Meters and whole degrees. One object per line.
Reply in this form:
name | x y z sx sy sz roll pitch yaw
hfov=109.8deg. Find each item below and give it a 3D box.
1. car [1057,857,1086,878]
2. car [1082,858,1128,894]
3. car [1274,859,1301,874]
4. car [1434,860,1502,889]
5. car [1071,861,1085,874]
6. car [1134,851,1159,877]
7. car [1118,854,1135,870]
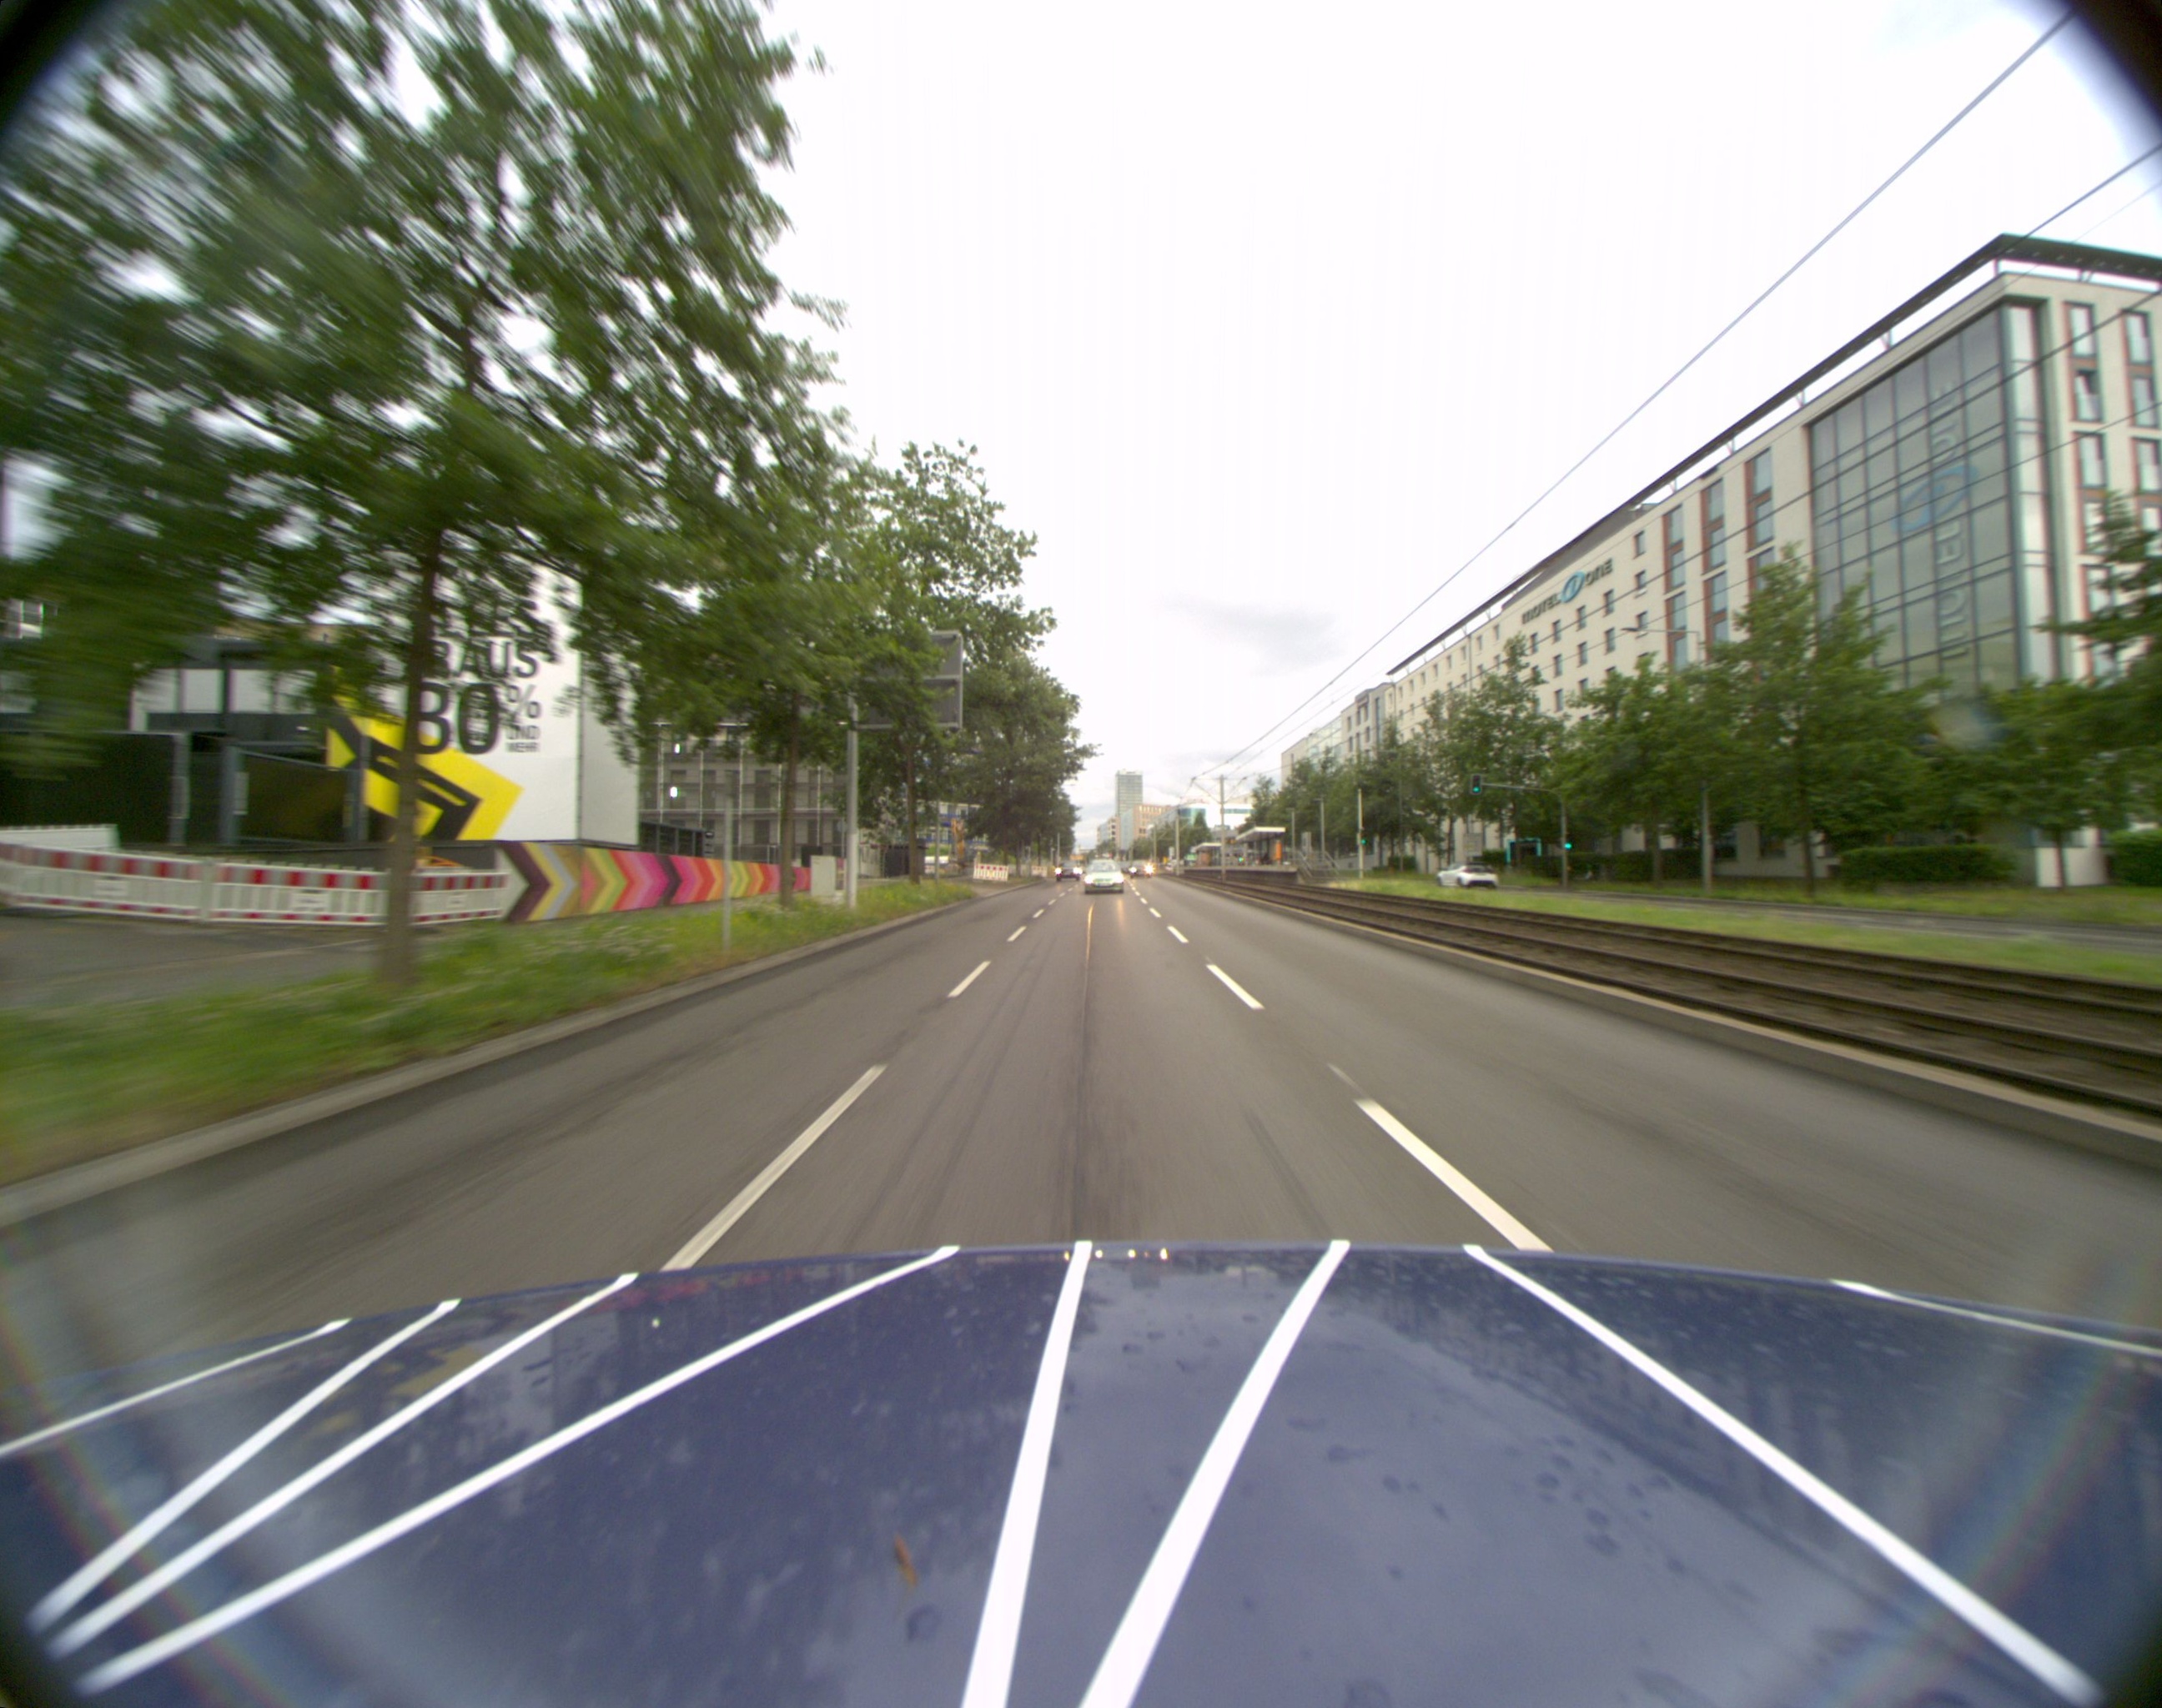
car | -0.751 1.093 61.046 1.828 1.599 4.117 -2 -2 6
car | 1.145 0.980 34.638 1.828 1.499 4.116 -2 -1 5
car | 19.650 1.167 72.490 1.701 1.356 3.562 2 0 3
car | 20.064 1.005 39.557 1.701 1.356 3.818 2 0 3
car | -0.441 2.011 112.786 1.860 1.798 4.116 -2 -2 2
car | 5.467 0.823 63.723 1.998 2.002 4.001 -2 1 4
car | 5.459 0.984 91.221 1.860 1.798 4.116 -2 -2 4
